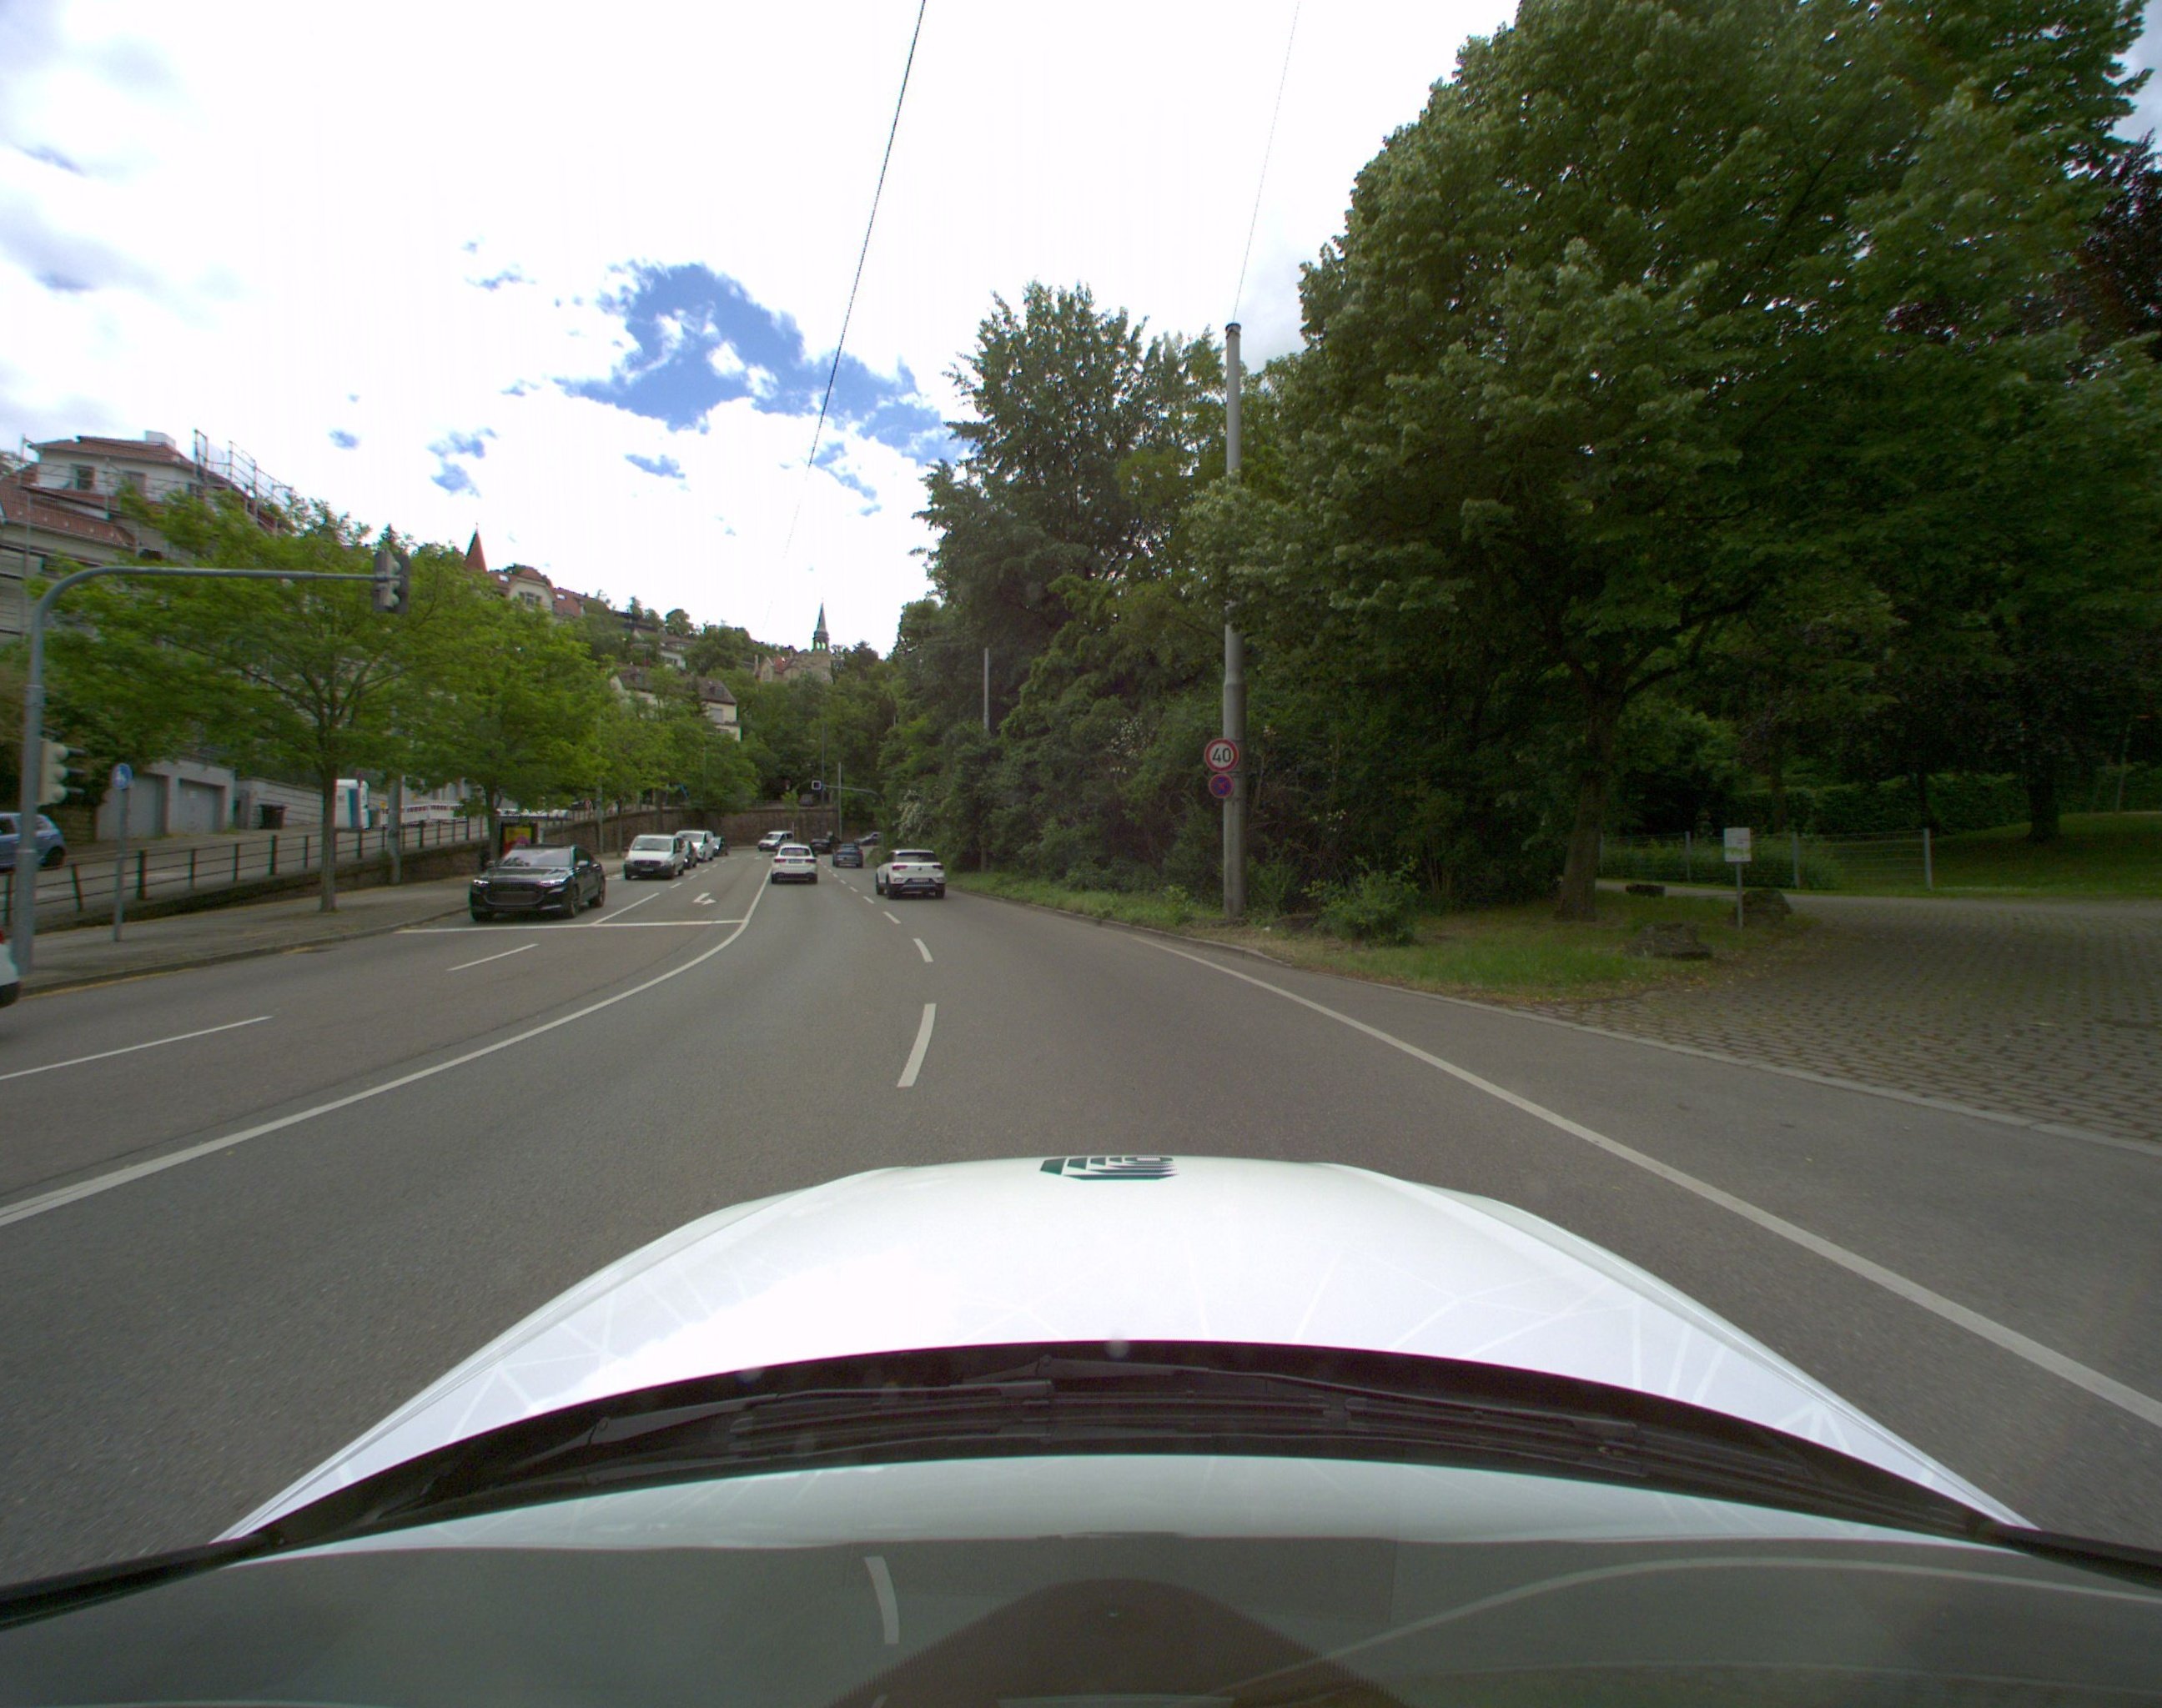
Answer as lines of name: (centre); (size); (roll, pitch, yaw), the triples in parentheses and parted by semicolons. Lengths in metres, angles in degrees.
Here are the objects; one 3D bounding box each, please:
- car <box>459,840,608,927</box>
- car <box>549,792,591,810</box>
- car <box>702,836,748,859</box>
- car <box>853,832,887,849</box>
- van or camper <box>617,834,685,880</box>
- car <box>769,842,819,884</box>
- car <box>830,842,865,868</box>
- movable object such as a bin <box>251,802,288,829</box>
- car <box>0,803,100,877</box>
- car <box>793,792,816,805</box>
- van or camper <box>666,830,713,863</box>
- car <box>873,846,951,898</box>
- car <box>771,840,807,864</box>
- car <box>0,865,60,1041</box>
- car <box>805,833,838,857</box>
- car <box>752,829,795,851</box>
car: (-13.319, 0.612, 20.152); (1.902, 1.791, 4.727); (-3, 1, -20)
car: (-41.582, -4.288, 66.313); (1.551, 1.279, 3.588); (-1, 1, -9)
car: (-27.537, -0.539, 63.206); (1.991, 1.617, 4.320); (3, 1, -6)
car: (-23.572, -1.492, 91.123); (1.933, 1.693, 4.300); (3, 1, 12)
van or camper: (-19.018, 0.071, 36.216); (2.001, 1.895, 5.419); (0, 1, -21)
car: (-12.557, 0.354, 35.433); (1.884, 1.652, 4.310); (-2, 1, -21)
car: (-15.661, 0.052, 54.522); (1.868, 1.632, 3.932); (-3, 1, -21)
movable object such as a bin: (-33.778, -1.605, 33.916); (0.810, 1.042, 0.831); (-3, 1, -26)
car: (-26.544, -0.336, 19.469); (1.998, 1.573, 3.980); (2, 4, -16)
car: (-34.233, -6.892, 100.938); (1.994, 1.485, 3.989); (0, 5, -10)
van or camper: (-25.187, -0.505, 52.626); (1.999, 2.013, 5.528); (0, 1, -18)
car: (-5.621, 0.542, 26.734); (1.872, 1.556, 3.866); (0, 0, -22)
car: (-19.843, -0.185, 55.379); (2.255, 1.519, 4.279); (-1, 1, -20)
car: (-11.095, 1.022, 5.905); (1.892, 1.654, 4.370); (-2, 1, -4)
car: (-23.879, -0.843, 75.084); (2.189, 2.013, 3.988); (-2, 1, -9)
car: (-28.456, -1.284, 75.502); (1.937, 1.798, 4.290); (3, 0, 4)
